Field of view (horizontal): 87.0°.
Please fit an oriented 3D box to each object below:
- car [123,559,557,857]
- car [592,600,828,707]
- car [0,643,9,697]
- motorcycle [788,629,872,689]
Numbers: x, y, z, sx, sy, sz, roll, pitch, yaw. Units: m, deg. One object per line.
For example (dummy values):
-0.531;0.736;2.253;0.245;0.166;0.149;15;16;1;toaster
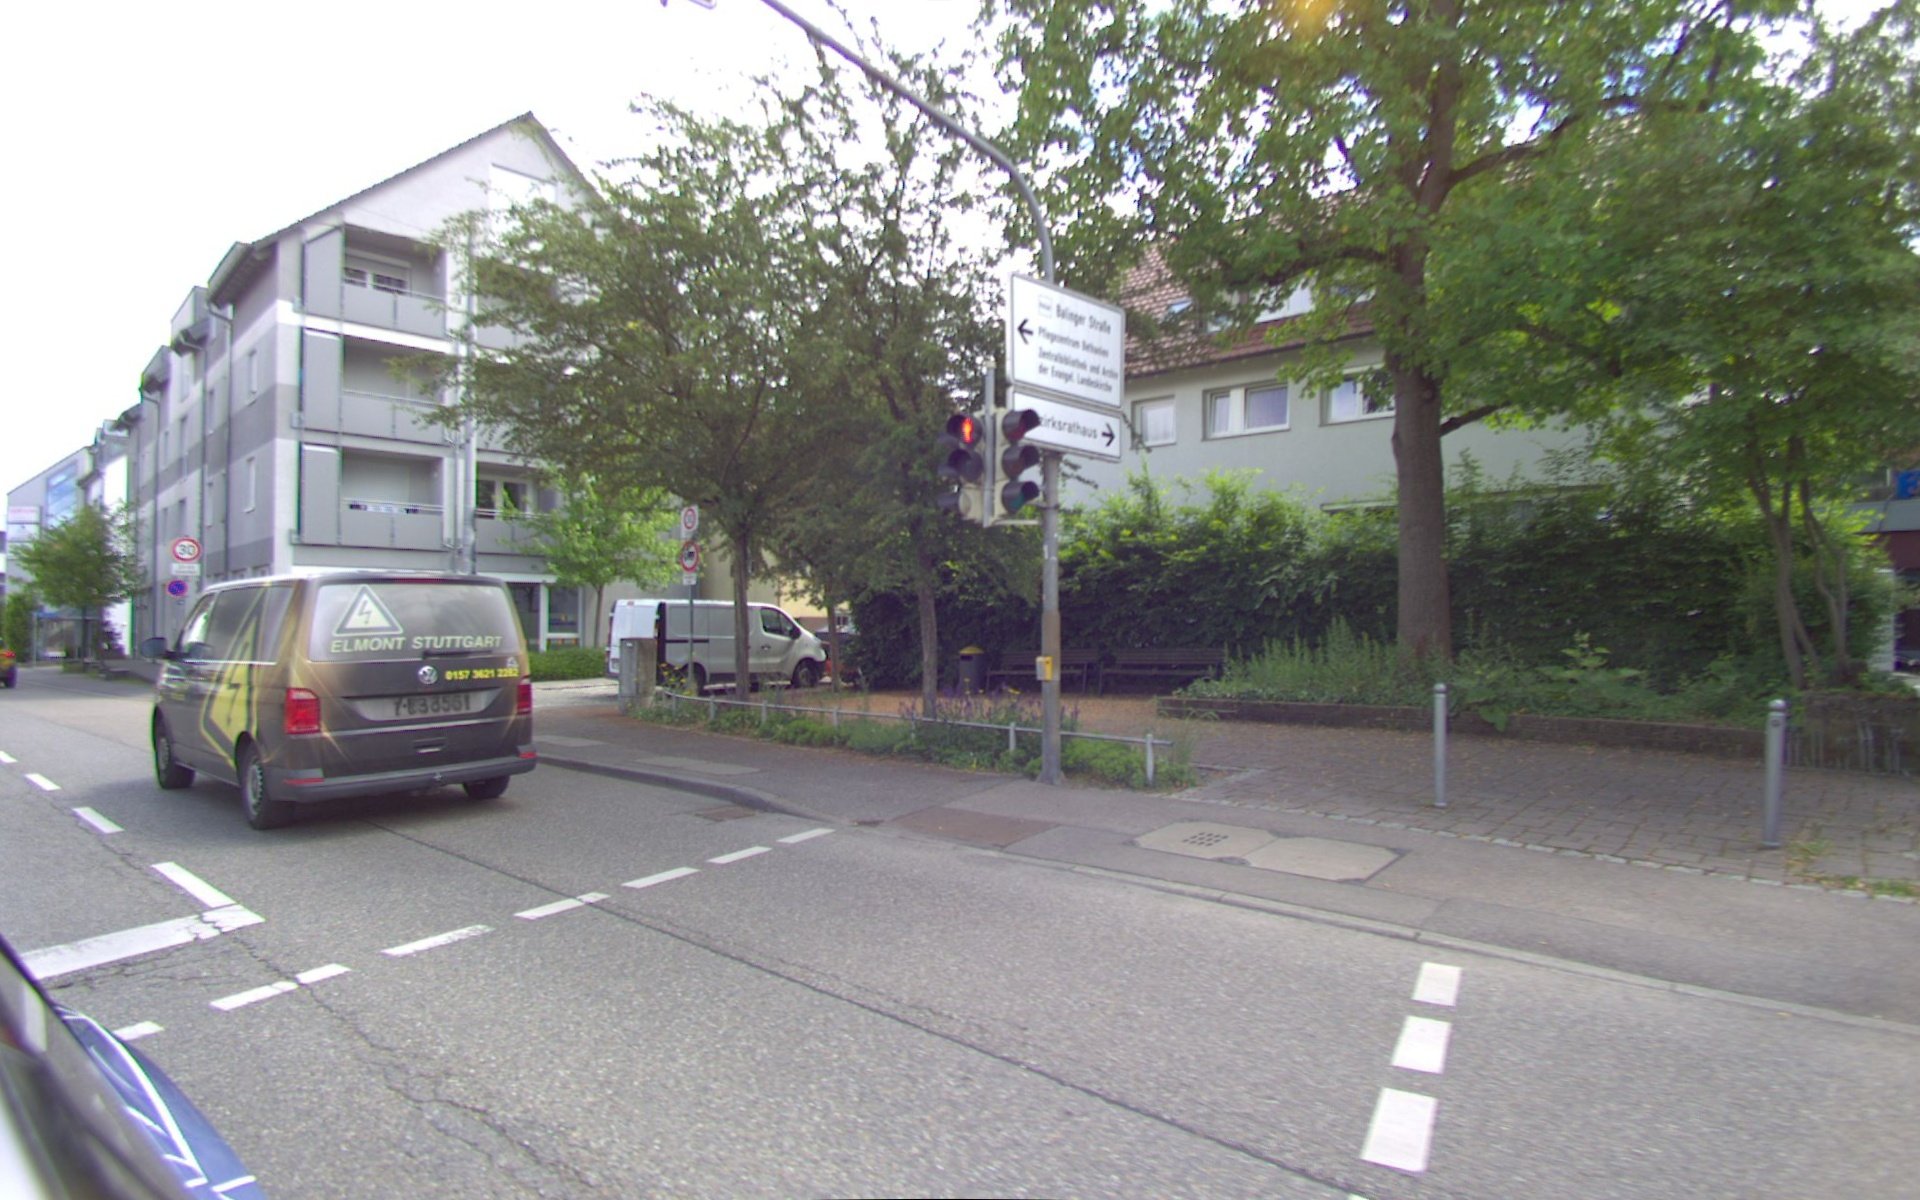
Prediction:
-5.591;0.779;8.823;4.748;1.927;1.858;-2;-2;40;car
-5.220;1.063;21.636;2.093;2.024;4.575;-2;-2;39;car
-29.359;2.076;29.720;3.998;1.550;1.710;-3;-3;41;car
-3.117;1.382;24.108;2.136;1.343;0.832;-2;-2;44;motorcycle
